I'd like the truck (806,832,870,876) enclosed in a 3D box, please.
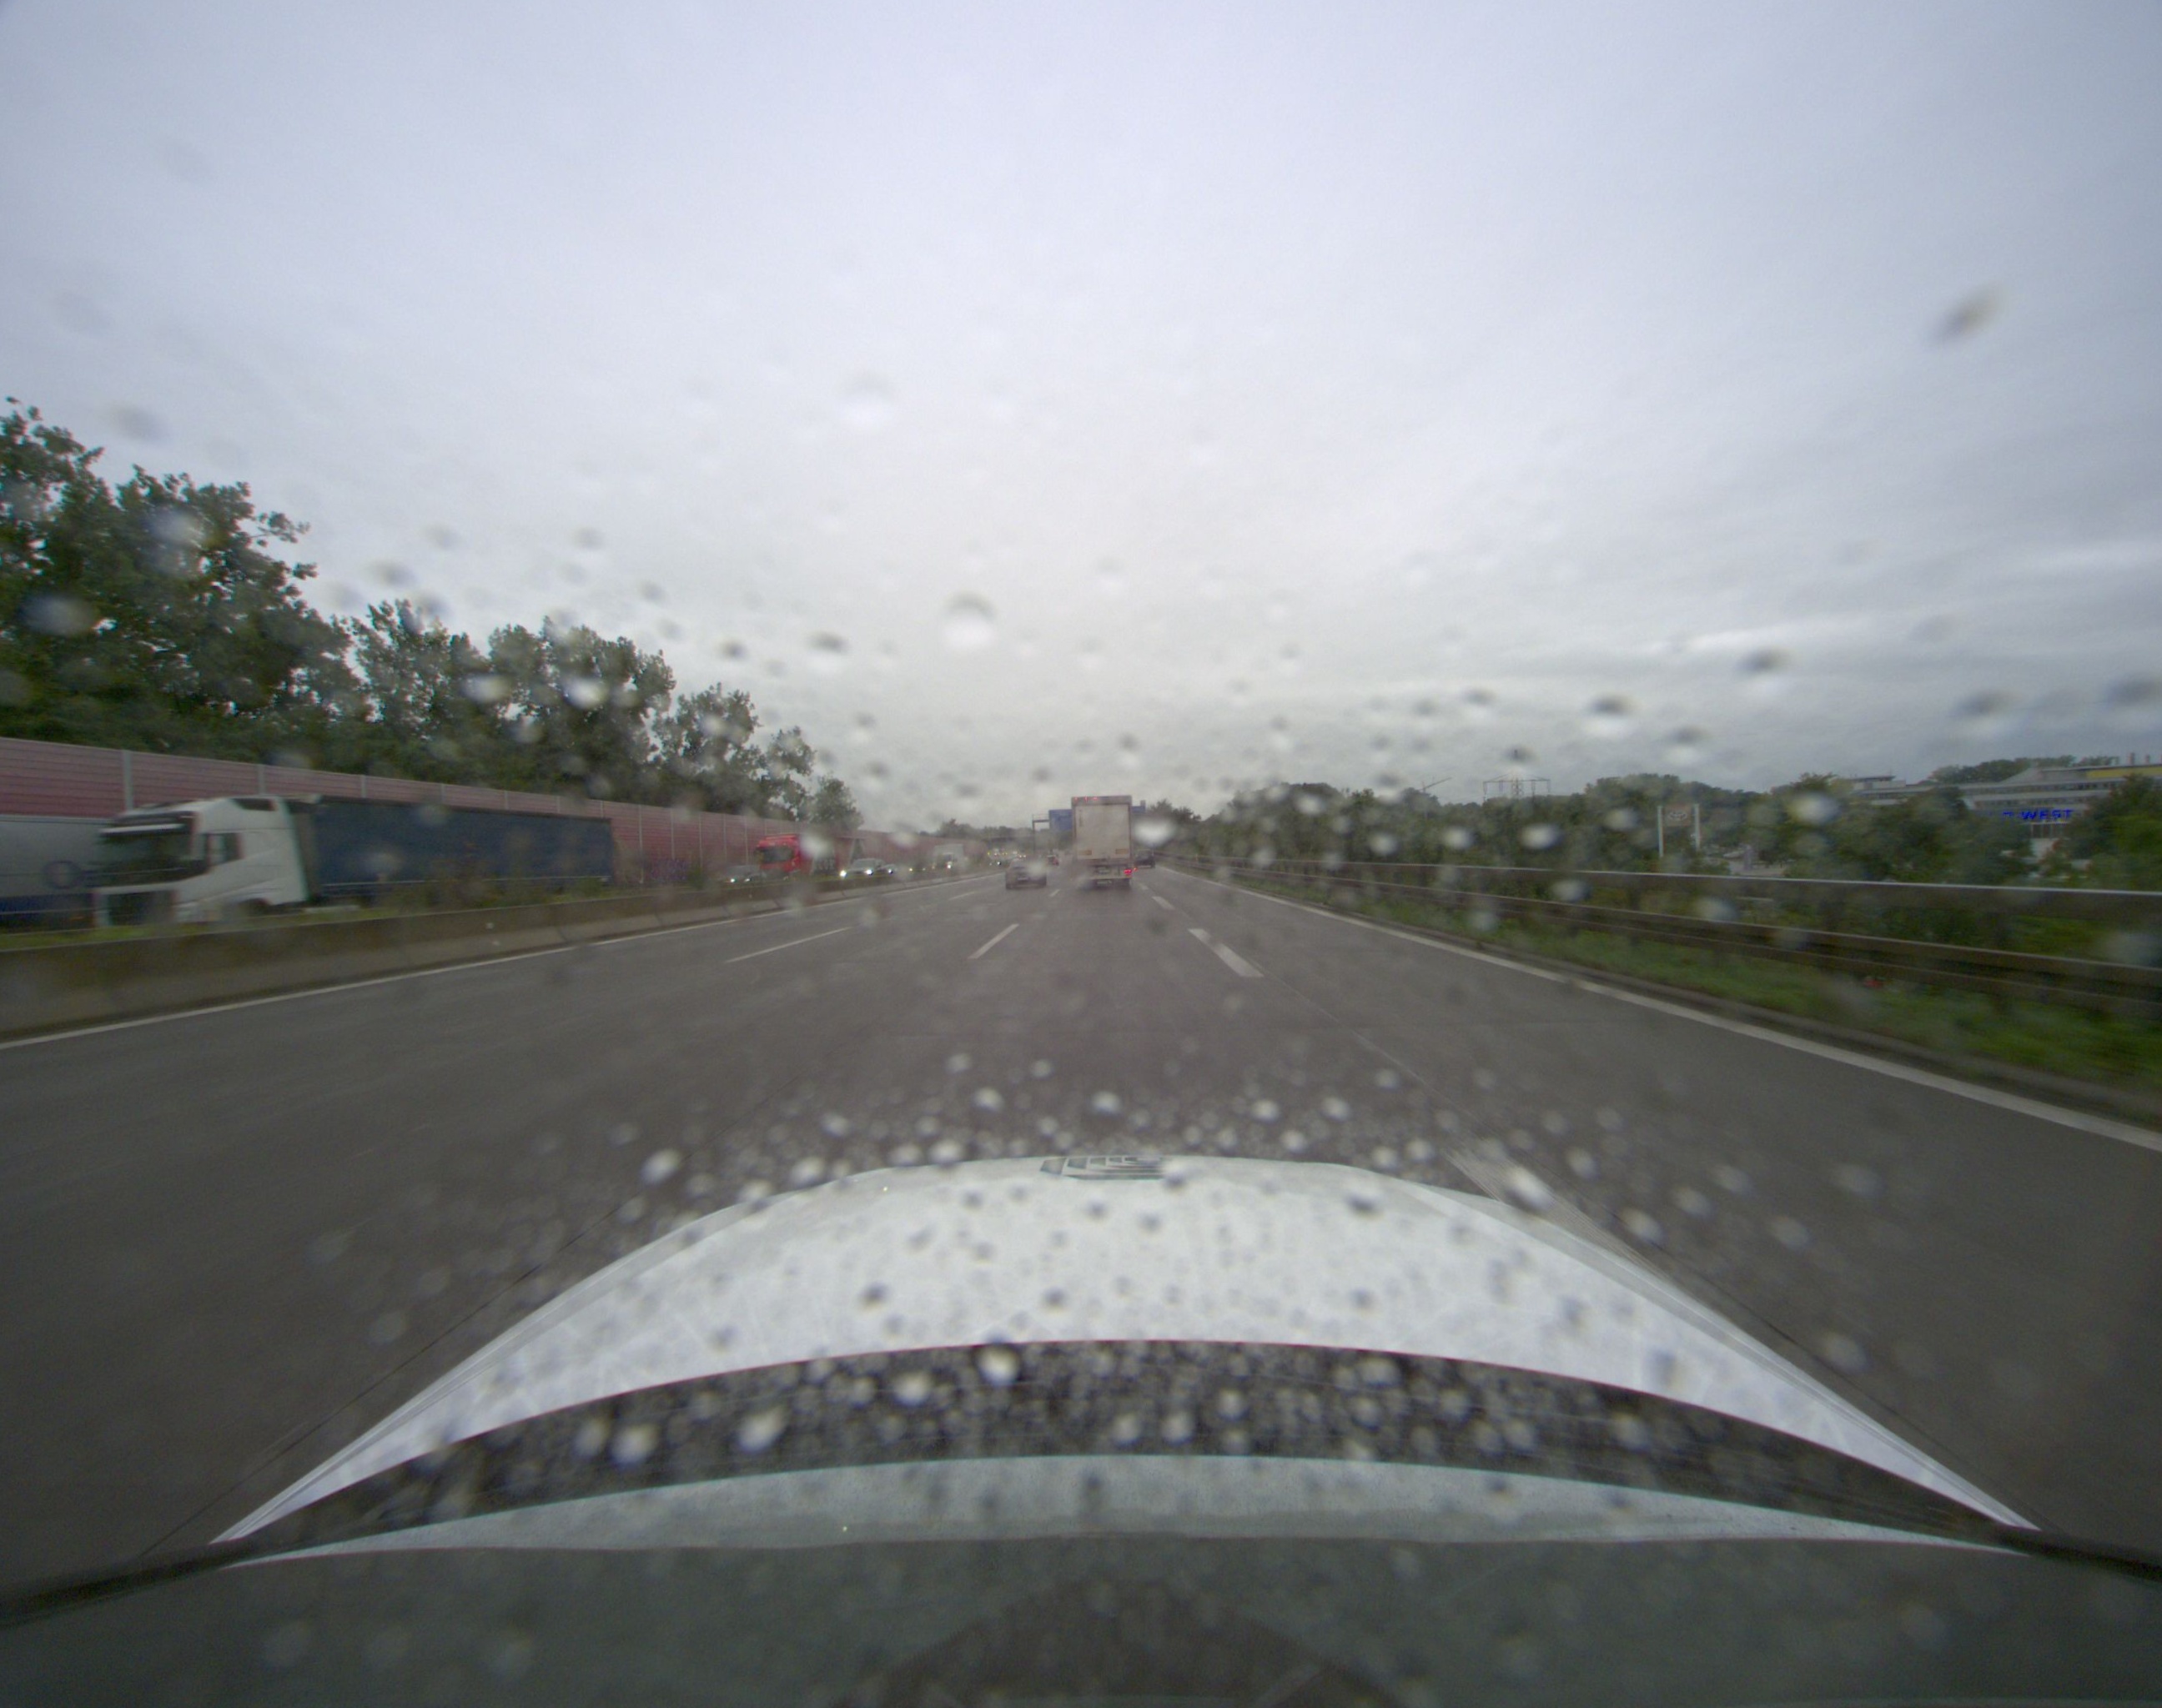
[{"bbox_3d":[-20.952,0.022,70.832,2.771,3.490,8.496,-2,0,1],"label":"truck"}]

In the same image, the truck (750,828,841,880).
[{"bbox_3d":[-21.168,0.019,61.233,2.770,3.490,10.621,-2,0,1],"label":"truck"}]

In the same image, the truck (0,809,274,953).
[{"bbox_3d":[-26.486,0.638,20.796,2.962,3.350,8.702,0,0,1],"label":"truck"}]

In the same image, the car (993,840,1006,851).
[{"bbox_3d":[-15.984,-1.670,159.932,1.986,2.013,5.808,0,0,1],"label":"car"}]

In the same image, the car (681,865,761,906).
[{"bbox_3d":[-18.253,1.572,41.537,1.986,1.859,4.391,-2,0,1],"label":"car"}]

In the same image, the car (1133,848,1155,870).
[{"bbox_3d":[5.749,0.404,74.342,1.889,1.949,4.004,0,0,3],"label":"car"}]

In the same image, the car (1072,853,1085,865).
[{"bbox_3d":[-0.343,0.760,123.315,1.887,1.723,4.002,0,0,2],"label":"car"}]

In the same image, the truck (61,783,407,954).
[{"bbox_3d":[-22.533,0.335,22.291,3.035,4.027,6.053,0,0,1],"label":"truck"}]

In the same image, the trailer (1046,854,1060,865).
[{"bbox_3d":[-4.218,0.854,122.614,1.808,1.624,4.570,-1,0,2],"label":"trailer"}]

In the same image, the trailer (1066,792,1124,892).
[{"bbox_3d":[0.860,-0.492,41.617,2.333,4.157,14.834,-2,0,2],"label":"trailer"}]

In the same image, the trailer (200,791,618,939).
[{"bbox_3d":[-22.367,0.303,29.304,3.035,4.027,14.130,0,0,1],"label":"trailer"}]

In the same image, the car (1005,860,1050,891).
[{"bbox_3d":[-2.577,1.010,40.448,1.719,1.403,4.830,-1,0,2],"label":"car"}]

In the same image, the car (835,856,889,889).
[{"bbox_3d":[-13.518,1.098,50.472,1.986,1.859,4.391,-2,0,1],"label":"car"}]

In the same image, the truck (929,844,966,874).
[{"bbox_3d":[-13.167,0.428,80.754,2.258,2.828,7.282,0,0,1],"label":"truck"}]
